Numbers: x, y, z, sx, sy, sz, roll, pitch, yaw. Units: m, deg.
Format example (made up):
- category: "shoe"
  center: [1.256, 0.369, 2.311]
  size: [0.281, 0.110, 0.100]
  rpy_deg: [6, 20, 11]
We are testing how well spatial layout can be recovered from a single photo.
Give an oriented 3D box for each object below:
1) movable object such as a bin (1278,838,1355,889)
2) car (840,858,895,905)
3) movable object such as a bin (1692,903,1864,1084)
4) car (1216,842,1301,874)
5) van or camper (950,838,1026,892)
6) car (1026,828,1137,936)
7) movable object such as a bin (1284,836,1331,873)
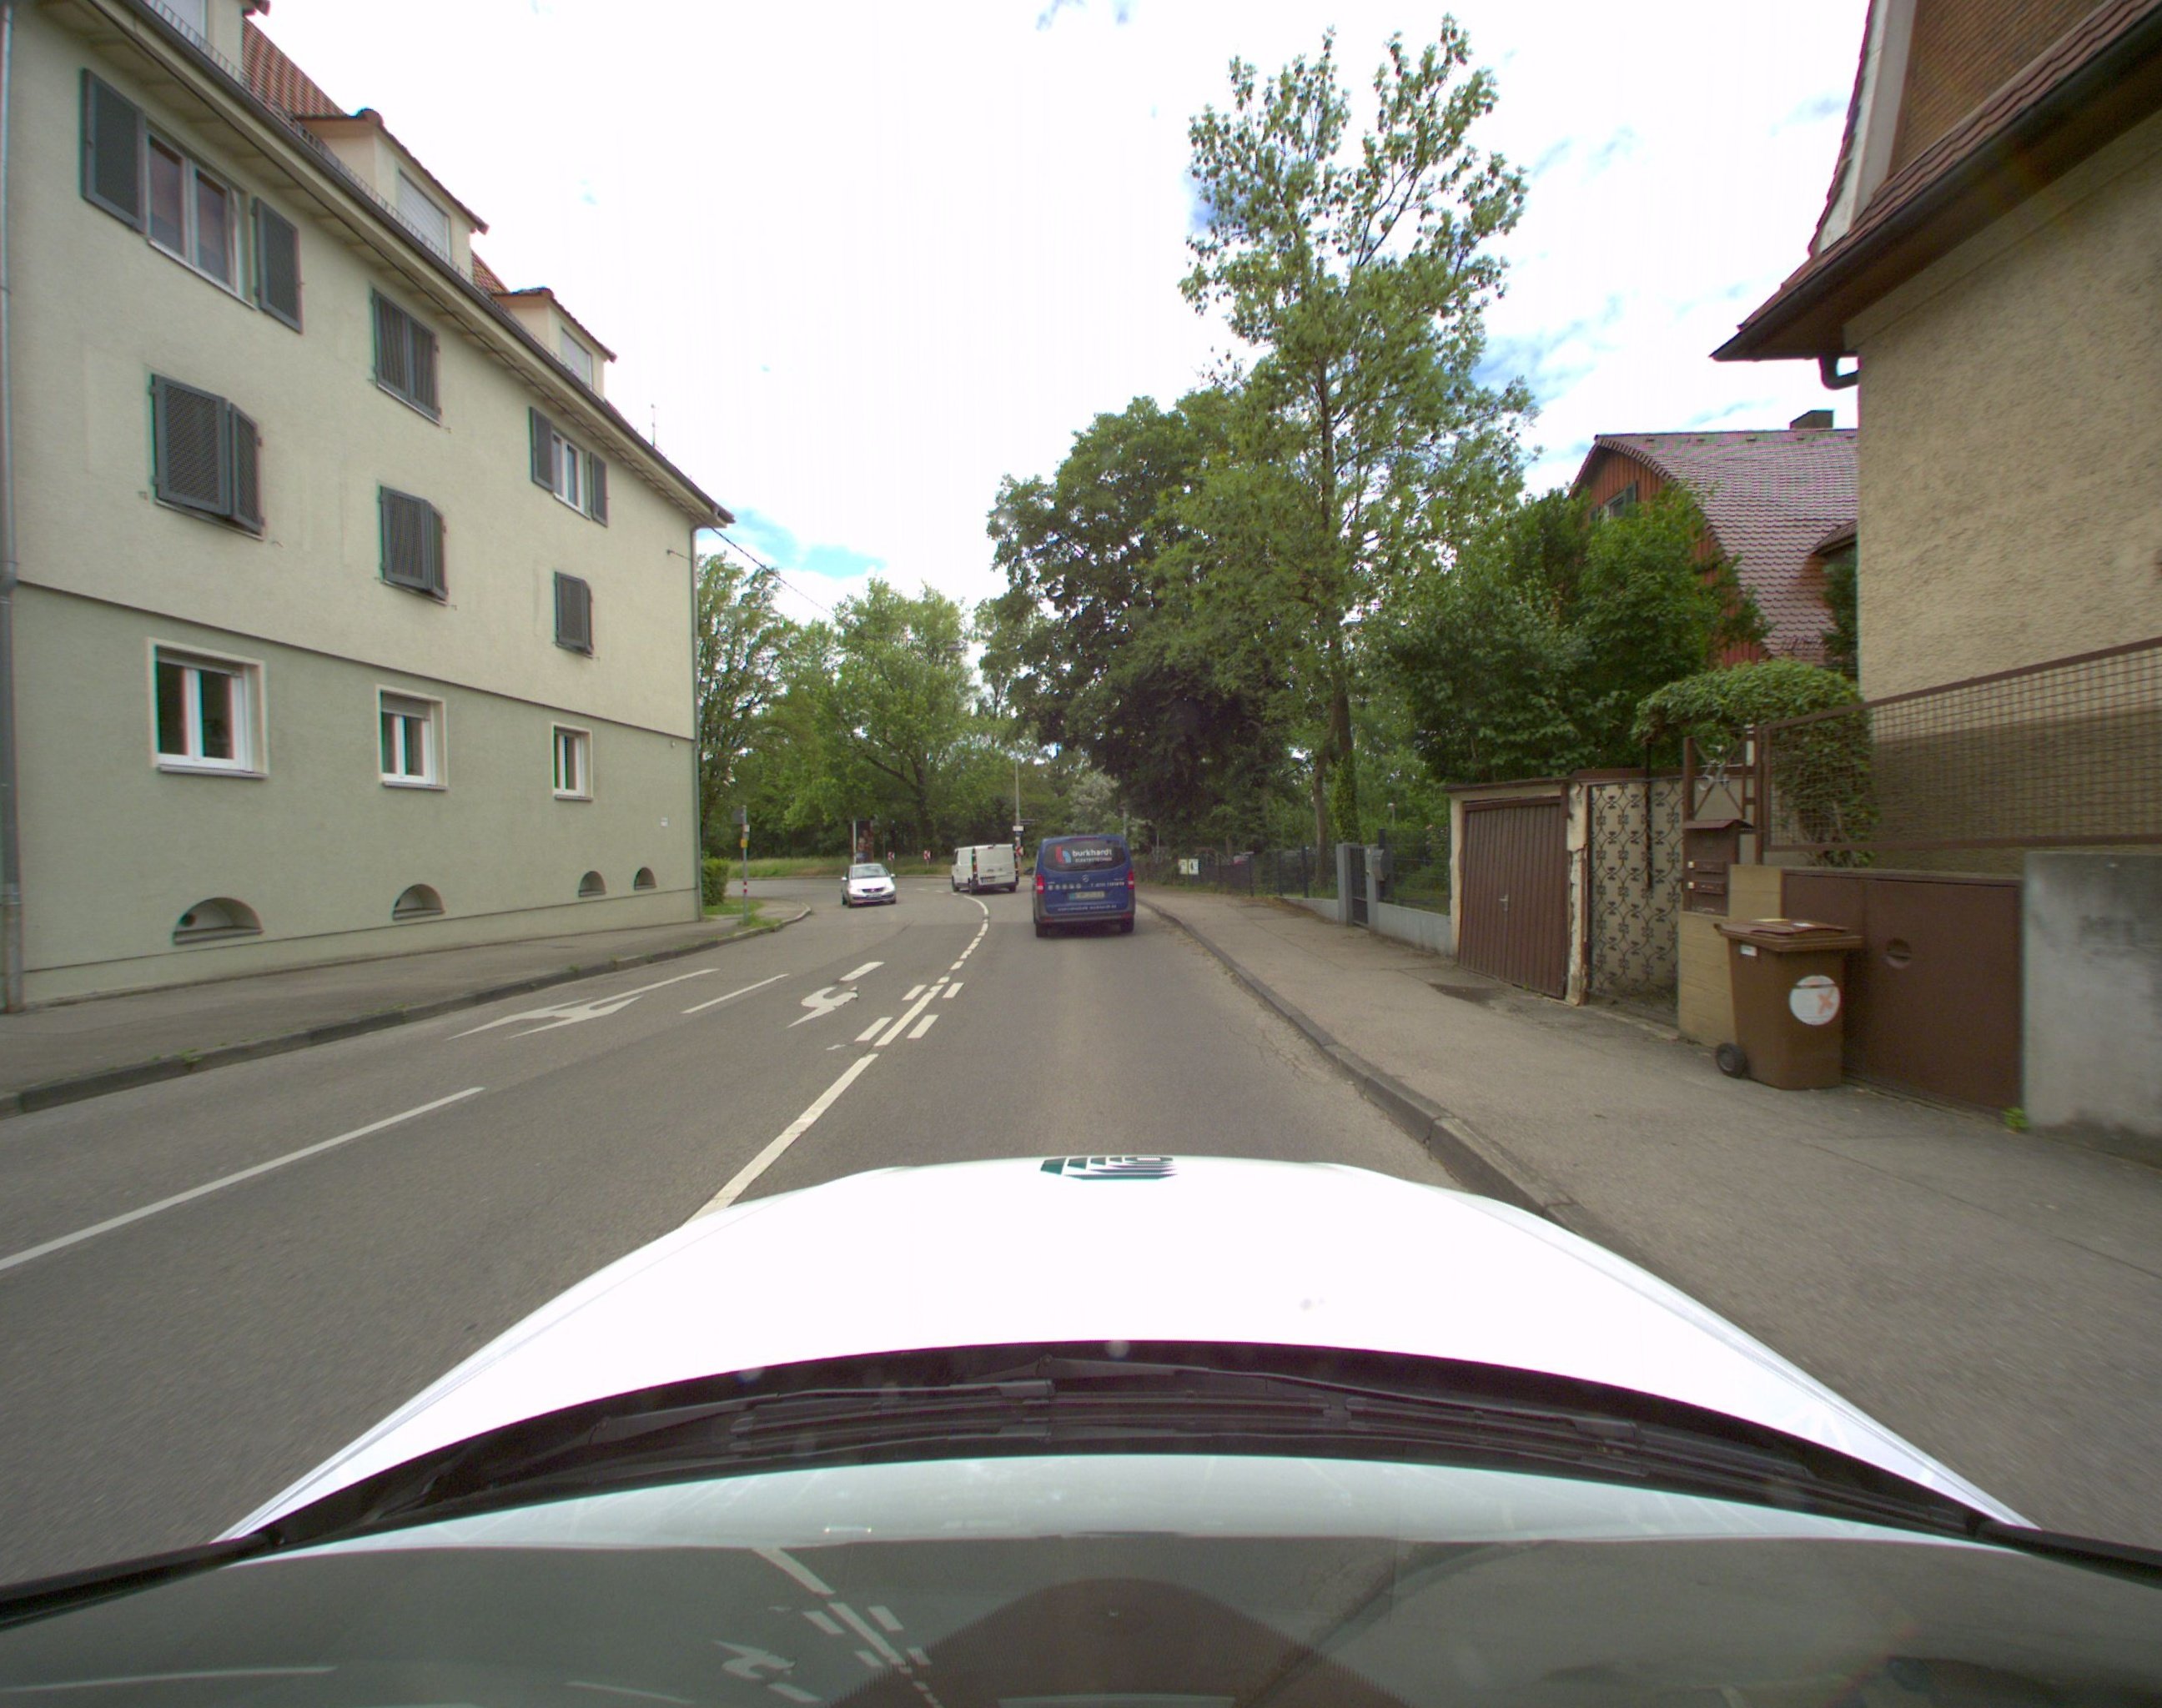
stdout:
- category: "movable object such as a bin"
  center: [8.985, 0.347, 31.187]
  size: [2.101, 1.787, 2.203]
  rpy_deg: [-2, 1, -7]
- category: "car"
  center: [-8.340, 1.023, 31.653]
  size: [1.728, 1.605, 3.951]
  rpy_deg: [-3, 0, -19]
- category: "movable object such as a bin"
  center: [4.061, 0.787, 4.782]
  size: [0.460, 0.924, 0.566]
  rpy_deg: [-5, 0, 0]
- category: "car"
  center: [8.815, 0.227, 40.520]
  size: [3.667, 1.398, 1.822]
  rpy_deg: [3, -1, -16]
- category: "van or camper"
  center: [-3.971, 0.436, 33.903]
  size: [2.026, 1.956, 4.864]
  rpy_deg: [-5, 1, -19]
- category: "car"
  center: [-0.032, 0.486, 16.679]
  size: [1.908, 1.837, 4.291]
  rpy_deg: [-3, 0, -1]
- category: "movable object such as a bin"
  center: [9.983, 0.011, 35.983]
  size: [1.422, 1.547, 1.670]
  rpy_deg: [-2, 1, -10]
